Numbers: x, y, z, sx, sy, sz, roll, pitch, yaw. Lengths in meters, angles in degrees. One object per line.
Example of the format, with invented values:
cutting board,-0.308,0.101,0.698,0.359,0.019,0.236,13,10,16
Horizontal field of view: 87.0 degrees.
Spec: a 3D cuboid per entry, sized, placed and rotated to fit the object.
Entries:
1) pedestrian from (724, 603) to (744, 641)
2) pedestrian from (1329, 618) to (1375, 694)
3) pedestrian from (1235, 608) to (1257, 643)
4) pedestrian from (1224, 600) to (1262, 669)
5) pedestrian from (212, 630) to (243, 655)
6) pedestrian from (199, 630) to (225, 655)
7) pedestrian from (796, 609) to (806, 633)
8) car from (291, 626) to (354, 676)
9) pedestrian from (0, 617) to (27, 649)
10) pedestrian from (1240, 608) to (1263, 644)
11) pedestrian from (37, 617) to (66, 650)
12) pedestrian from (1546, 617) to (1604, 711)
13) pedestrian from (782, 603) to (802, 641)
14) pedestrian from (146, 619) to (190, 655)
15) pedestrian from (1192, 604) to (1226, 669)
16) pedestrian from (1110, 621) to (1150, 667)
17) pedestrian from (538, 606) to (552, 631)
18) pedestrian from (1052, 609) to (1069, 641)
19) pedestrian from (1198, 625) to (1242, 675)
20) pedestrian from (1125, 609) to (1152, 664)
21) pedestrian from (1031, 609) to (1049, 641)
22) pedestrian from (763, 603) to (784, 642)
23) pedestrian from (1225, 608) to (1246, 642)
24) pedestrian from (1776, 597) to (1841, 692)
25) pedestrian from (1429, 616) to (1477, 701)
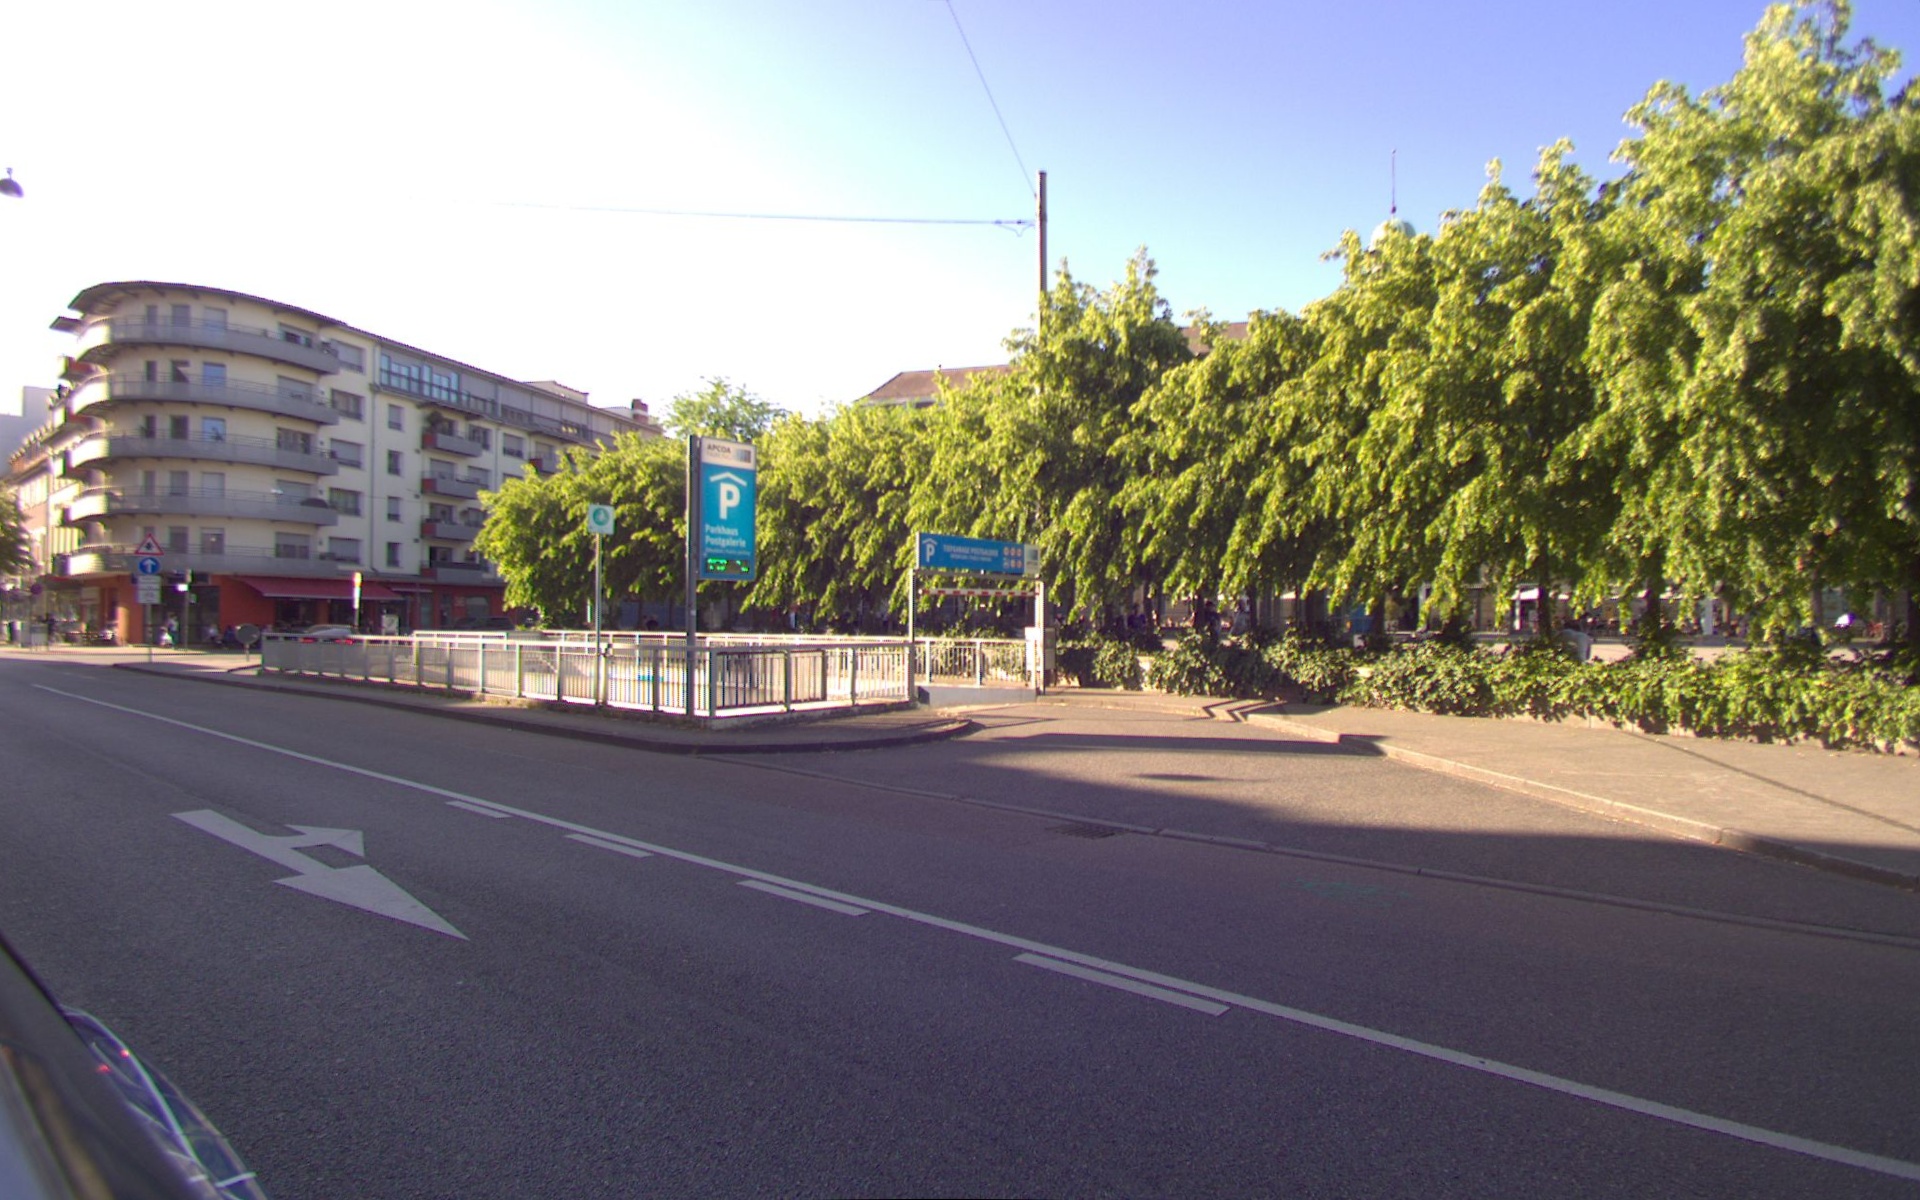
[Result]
pedestrian,-11.252,1.109,50.470,0.679,1.857,0.743,-1,0,19
pedestrian,7.501,1.055,19.368,0.622,1.409,0.644,-1,0,44
pedestrian,12.918,1.147,45.766,0.672,1.542,0.696,-1,0,-18
pedestrian,6.680,0.793,23.916,0.517,1.594,0.686,-1,0,-23
pedestrian,-36.841,2.123,50.919,0.827,1.207,0.931,-1,0,16
pedestrian,-37.662,2.134,50.964,0.882,1.207,0.772,-1,0,30
pedestrian,-10.784,1.400,68.652,0.489,1.591,0.491,-1,0,16
car,-21.881,1.737,34.834,1.648,1.542,4.262,-2,-1,-30
pedestrian,-52.191,1.814,55.698,1.079,1.732,1.056,-1,0,38
pedestrian,12.977,1.146,45.021,0.672,1.536,0.696,-1,0,-19
pedestrian,-49.251,1.813,54.874,0.962,1.762,1.047,-1,0,41
pedestrian,9.784,1.007,16.112,0.611,1.447,0.588,-1,0,14
pedestrian,-8.264,1.095,49.790,0.681,1.857,0.741,-1,0,27
pedestrian,-38.932,1.809,49.762,1.254,1.678,1.140,-1,0,-3
pedestrian,5.851,0.845,23.757,0.688,1.511,0.680,-1,0,19
pedestrian,4.209,1.082,25.123,0.682,1.079,0.686,-1,0,-29
pedestrian,-31.145,1.392,75.910,0.684,1.857,0.737,-1,0,41
pedestrian,4.450,1.100,44.840,0.684,1.385,0.684,-1,0,1
pedestrian,5.748,1.096,22.385,0.682,1.079,0.686,-1,0,-13
pedestrian,4.578,0.924,25.942,0.545,1.385,0.680,-1,0,19
pedestrian,3.555,1.111,44.876,0.752,1.385,0.684,-1,0,1
pedestrian,-9.012,1.095,48.947,0.681,1.877,0.741,-1,0,27
pedestrian,12.645,1.150,46.477,0.673,1.535,0.695,-1,0,-7
pedestrian,14.105,0.727,16.837,0.691,1.532,0.677,-1,0,30
pedestrian,8.728,1.020,17.921,0.621,1.447,0.645,-1,0,39
